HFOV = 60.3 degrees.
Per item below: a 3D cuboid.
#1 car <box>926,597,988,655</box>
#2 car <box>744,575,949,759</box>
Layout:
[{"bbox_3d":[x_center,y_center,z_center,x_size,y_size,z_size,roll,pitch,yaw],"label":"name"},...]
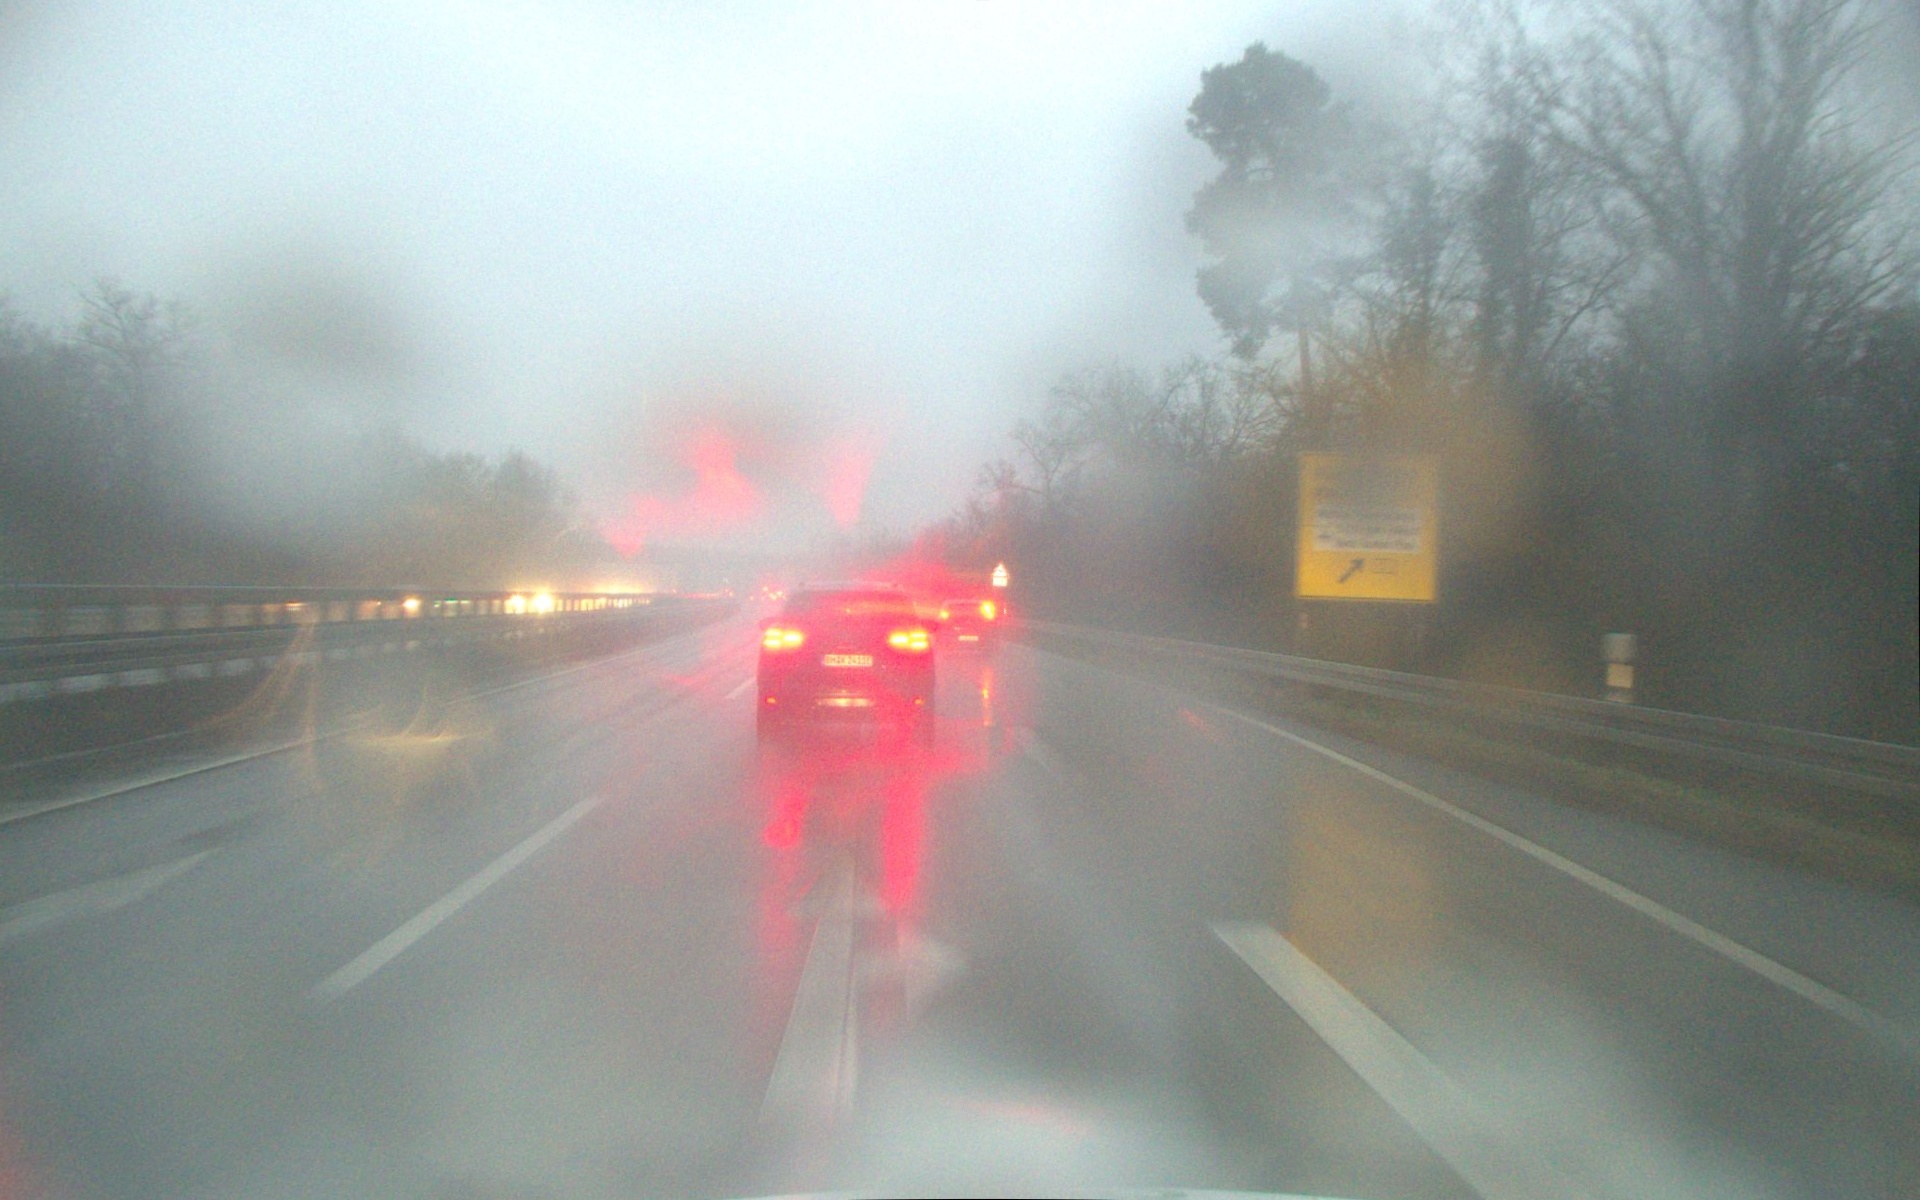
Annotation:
[{"bbox_3d":[-0.092,0.651,43.188,1.537,1.433,3.645,1,0,-1],"label":"car"},{"bbox_3d":[-1.184,0.646,17.822,1.952,1.745,3.827,1,0,-3],"label":"car"}]
